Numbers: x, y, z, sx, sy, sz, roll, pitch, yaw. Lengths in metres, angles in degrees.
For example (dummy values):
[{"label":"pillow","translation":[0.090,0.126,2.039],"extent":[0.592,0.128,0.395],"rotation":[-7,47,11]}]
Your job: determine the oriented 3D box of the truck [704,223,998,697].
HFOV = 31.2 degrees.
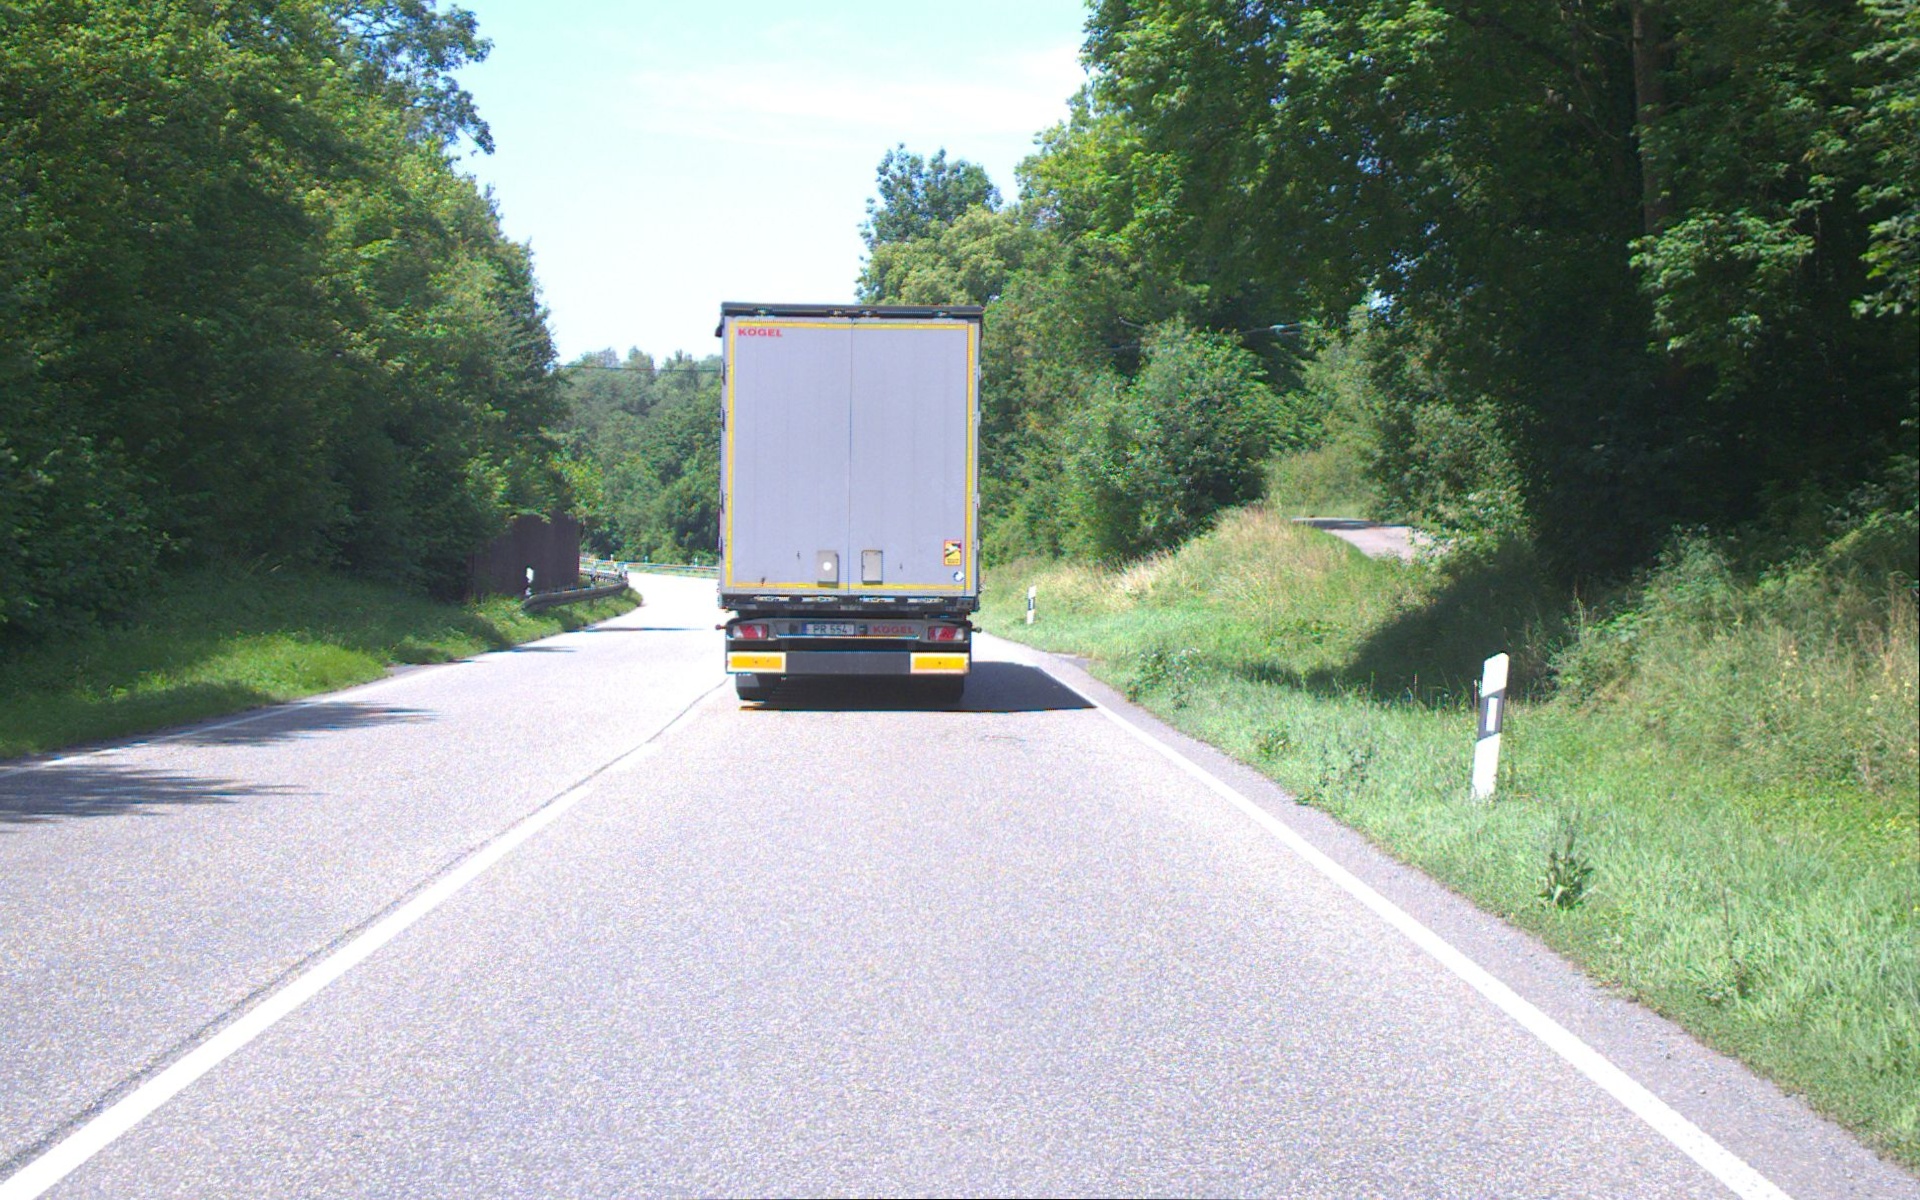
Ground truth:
[{"label":"truck","translation":[-1.021,-1.356,36.676],"extent":[2.822,4.588,6.665],"rotation":[0,0,1]}]
